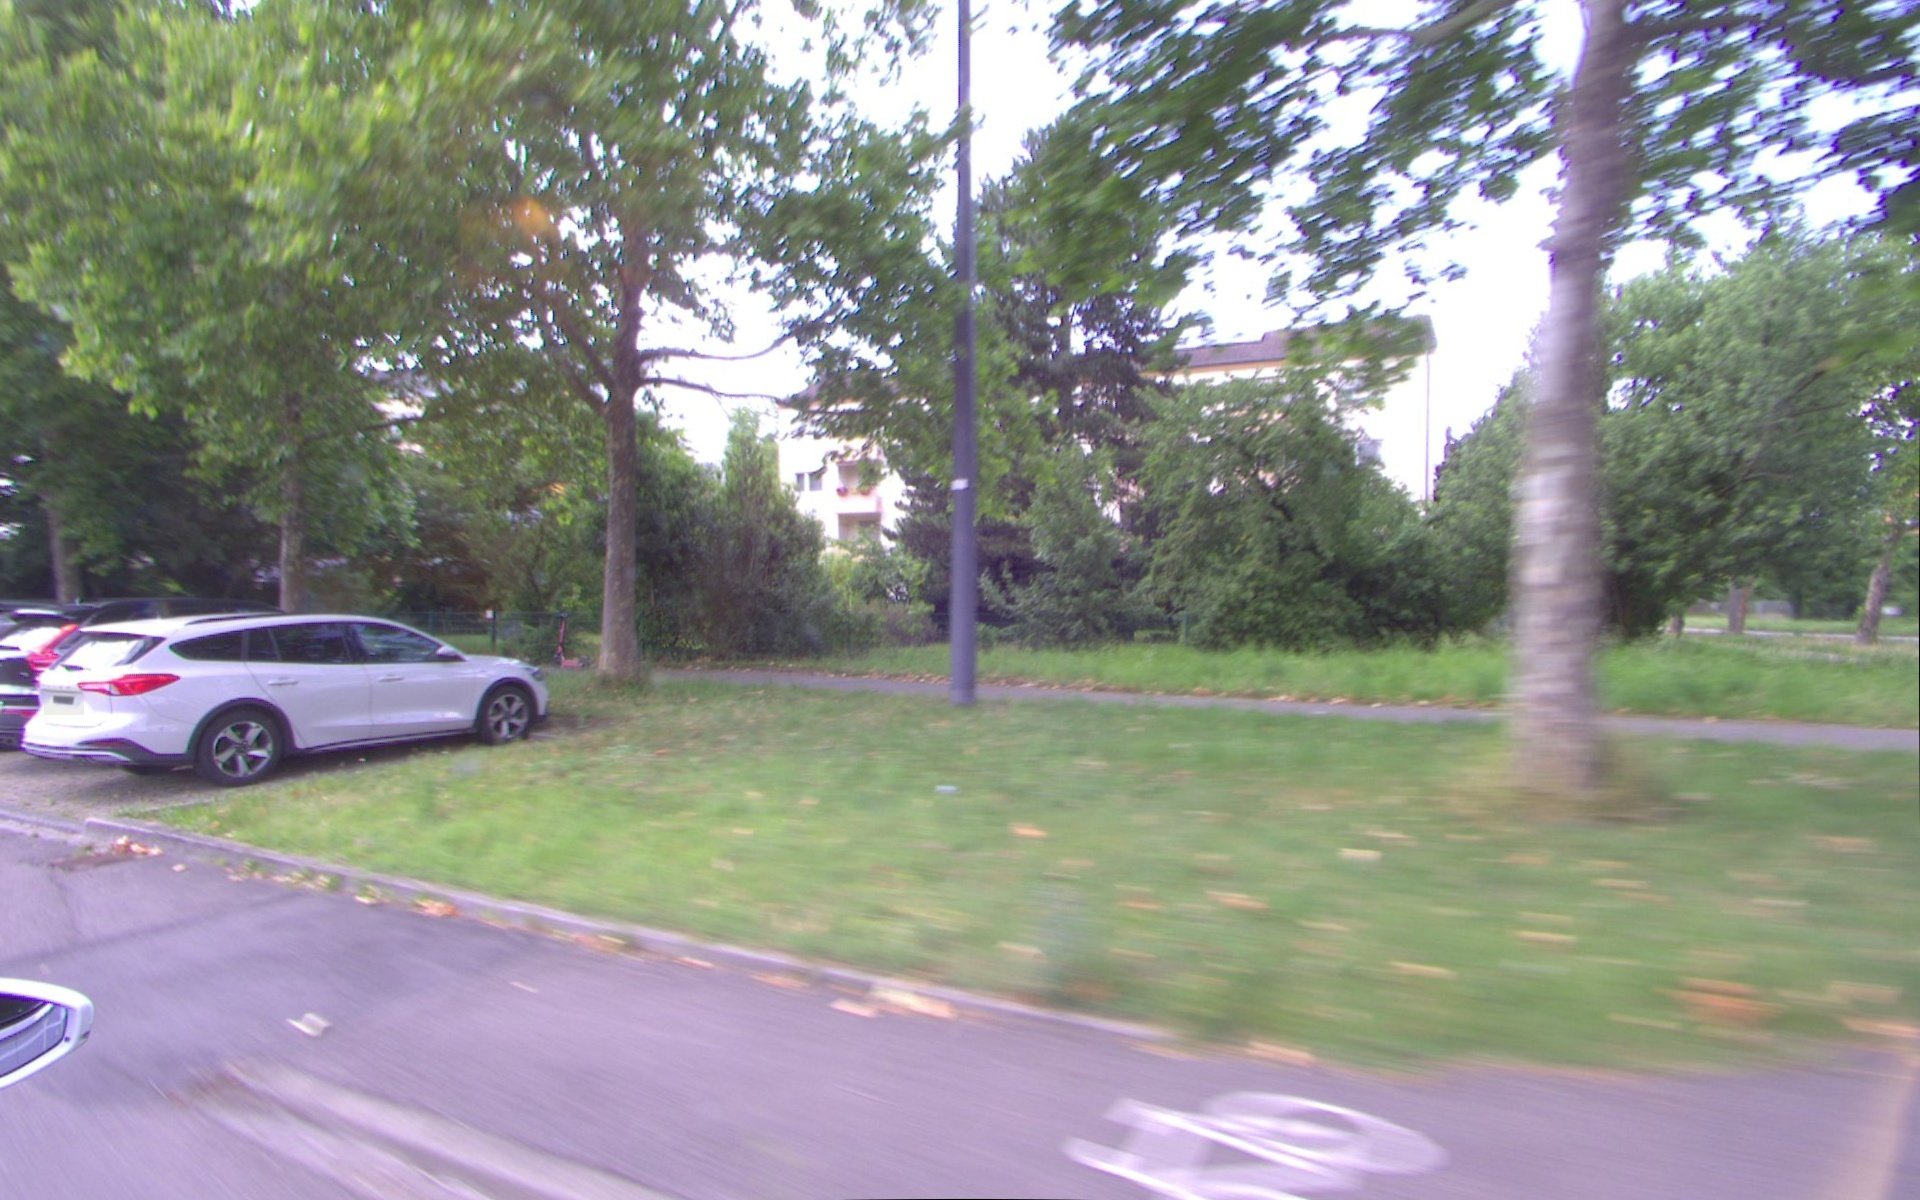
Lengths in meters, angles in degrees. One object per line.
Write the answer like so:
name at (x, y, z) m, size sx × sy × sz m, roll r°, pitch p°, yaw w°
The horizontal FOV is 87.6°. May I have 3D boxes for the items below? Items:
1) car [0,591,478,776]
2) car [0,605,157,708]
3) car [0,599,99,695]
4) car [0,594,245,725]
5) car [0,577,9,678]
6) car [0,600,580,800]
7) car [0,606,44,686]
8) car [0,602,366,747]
car at (-8.203, 0.734, 11.488) m, size 1.819 × 1.648 × 4.654 m, roll 0°, pitch 1°, yaw 28°
car at (-15.158, 0.862, 15.458) m, size 1.730 × 1.514 × 3.958 m, roll 0°, pitch 1°, yaw 31°
car at (-17.406, 0.817, 16.918) m, size 1.726 × 1.627 × 3.968 m, roll 0°, pitch 1°, yaw 21°
car at (-12.770, 0.770, 13.830) m, size 1.731 × 1.661 × 4.370 m, roll 0°, pitch 1°, yaw 33°
car at (-22.351, 0.614, 19.989) m, size 1.828 × 2.152 × 4.537 m, roll 0°, pitch 1°, yaw 31°
car at (-6.390, 0.778, 10.242) m, size 1.819 × 1.493 × 4.654 m, roll 0°, pitch 1°, yaw 28°
car at (-19.781, 0.916, 18.444) m, size 1.730 × 1.514 × 3.958 m, roll -1°, pitch 0°, yaw 31°
car at (-10.302, 0.824, 12.785) m, size 1.731 × 1.521 × 4.370 m, roll 0°, pitch 1°, yaw 33°
